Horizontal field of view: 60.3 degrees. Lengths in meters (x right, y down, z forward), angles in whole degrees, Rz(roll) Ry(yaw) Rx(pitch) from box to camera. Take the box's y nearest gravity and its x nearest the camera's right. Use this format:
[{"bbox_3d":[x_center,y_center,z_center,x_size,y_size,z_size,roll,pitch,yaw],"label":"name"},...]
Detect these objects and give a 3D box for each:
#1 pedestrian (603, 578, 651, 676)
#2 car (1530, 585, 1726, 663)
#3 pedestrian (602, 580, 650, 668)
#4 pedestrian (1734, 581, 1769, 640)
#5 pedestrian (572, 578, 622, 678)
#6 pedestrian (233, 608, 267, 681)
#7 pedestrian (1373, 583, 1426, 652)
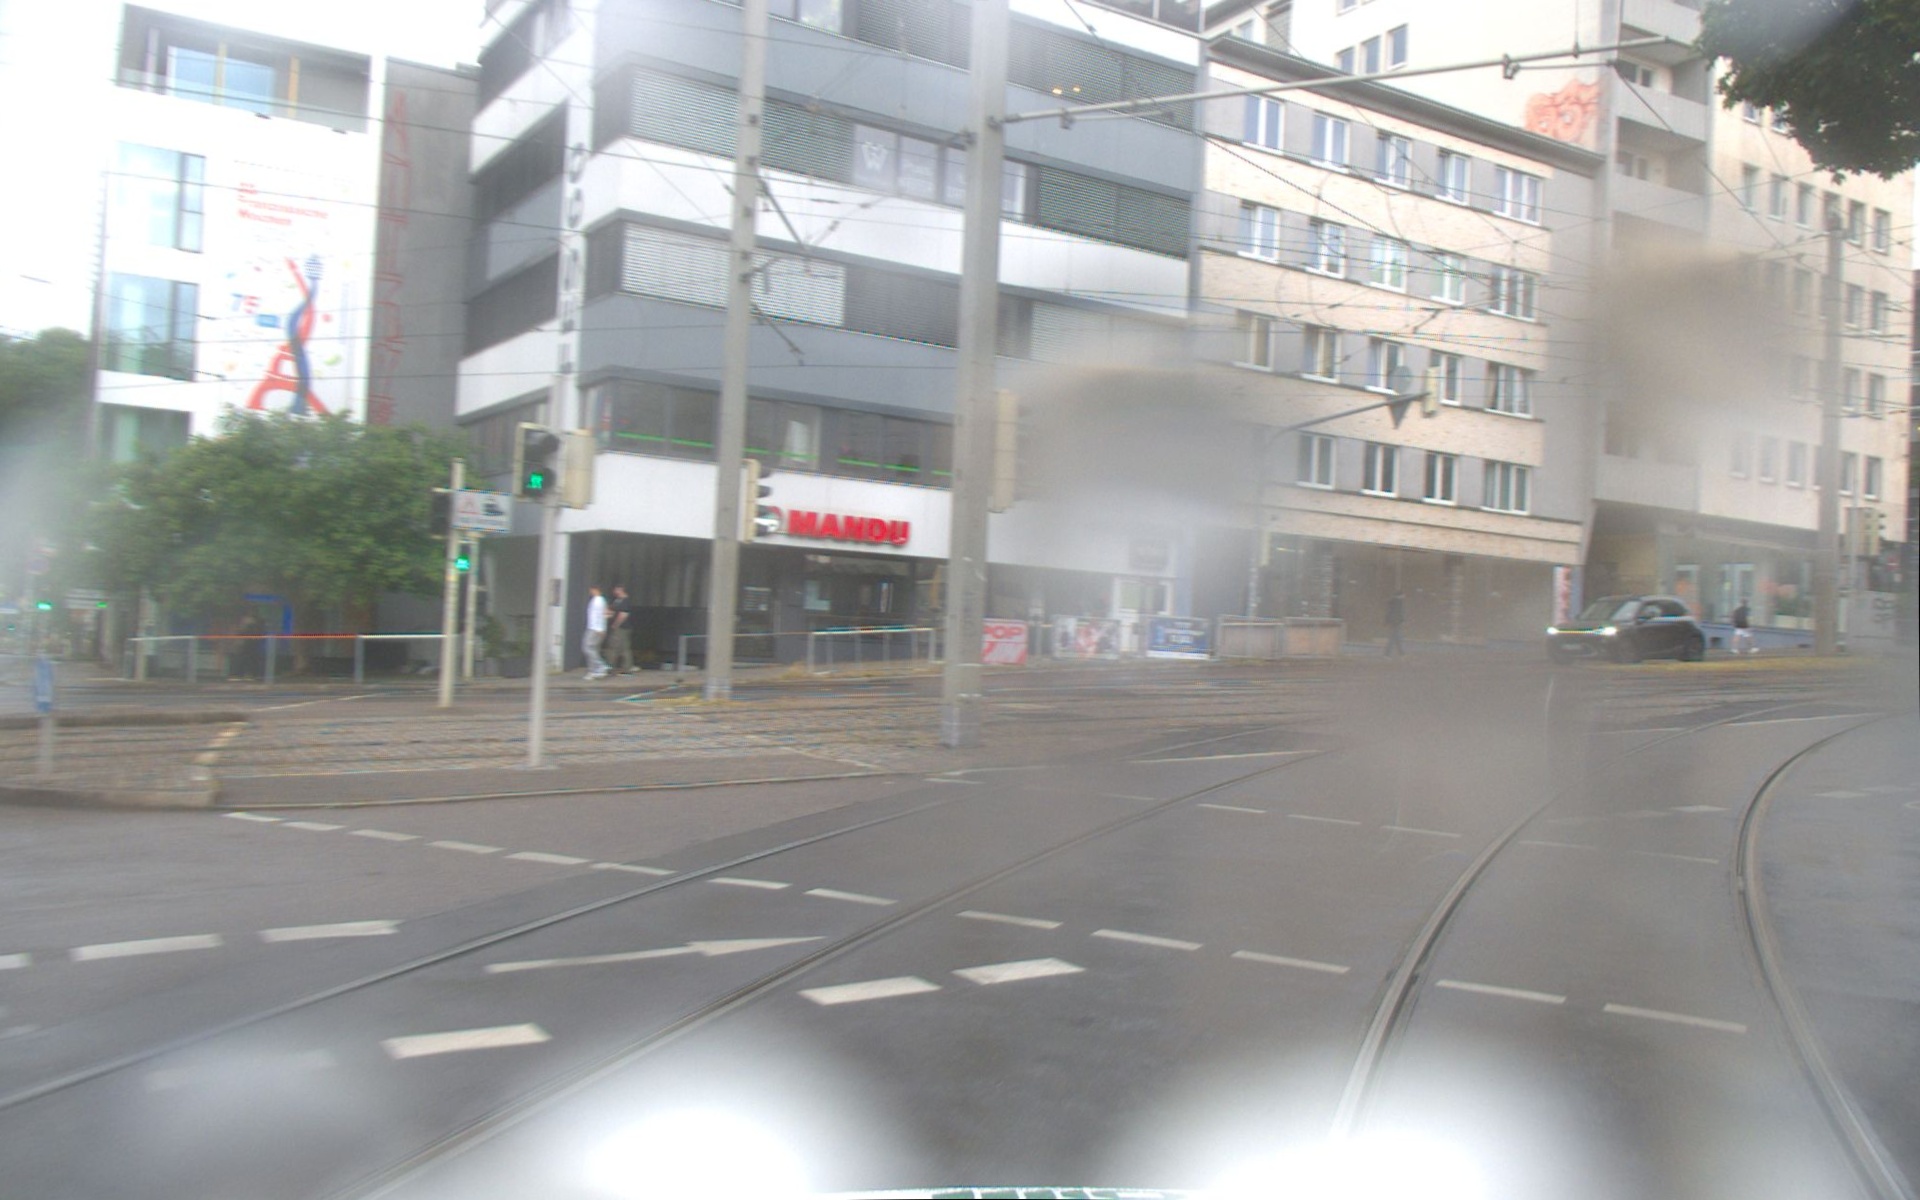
[{"bbox_3d":[-6.761,0.541,33.575,0.701,1.947,0.698,1,-1,10],"label":"pedestrian"},{"bbox_3d":[15.477,0.525,38.265,4.468,1.702,1.978,0,0,-32],"label":"car"},{"bbox_3d":[-6.922,0.489,34.309,0.702,1.792,0.698,1,-1,17],"label":"pedestrian"},{"bbox_3d":[23.777,0.318,49.699,0.898,1.768,0.591,0,0,-34],"label":"pedestrian"},{"bbox_3d":[-7.215,0.560,32.899,0.701,1.947,0.698,1,-1,10],"label":"pedestrian"},{"bbox_3d":[-15.613,0.972,36.380,0.531,1.590,0.520,1,-1,-8],"label":"pedestrian"},{"bbox_3d":[11.165,0.443,41.985,0.985,1.710,0.881,0,0,-32],"label":"pedestrian"}]
